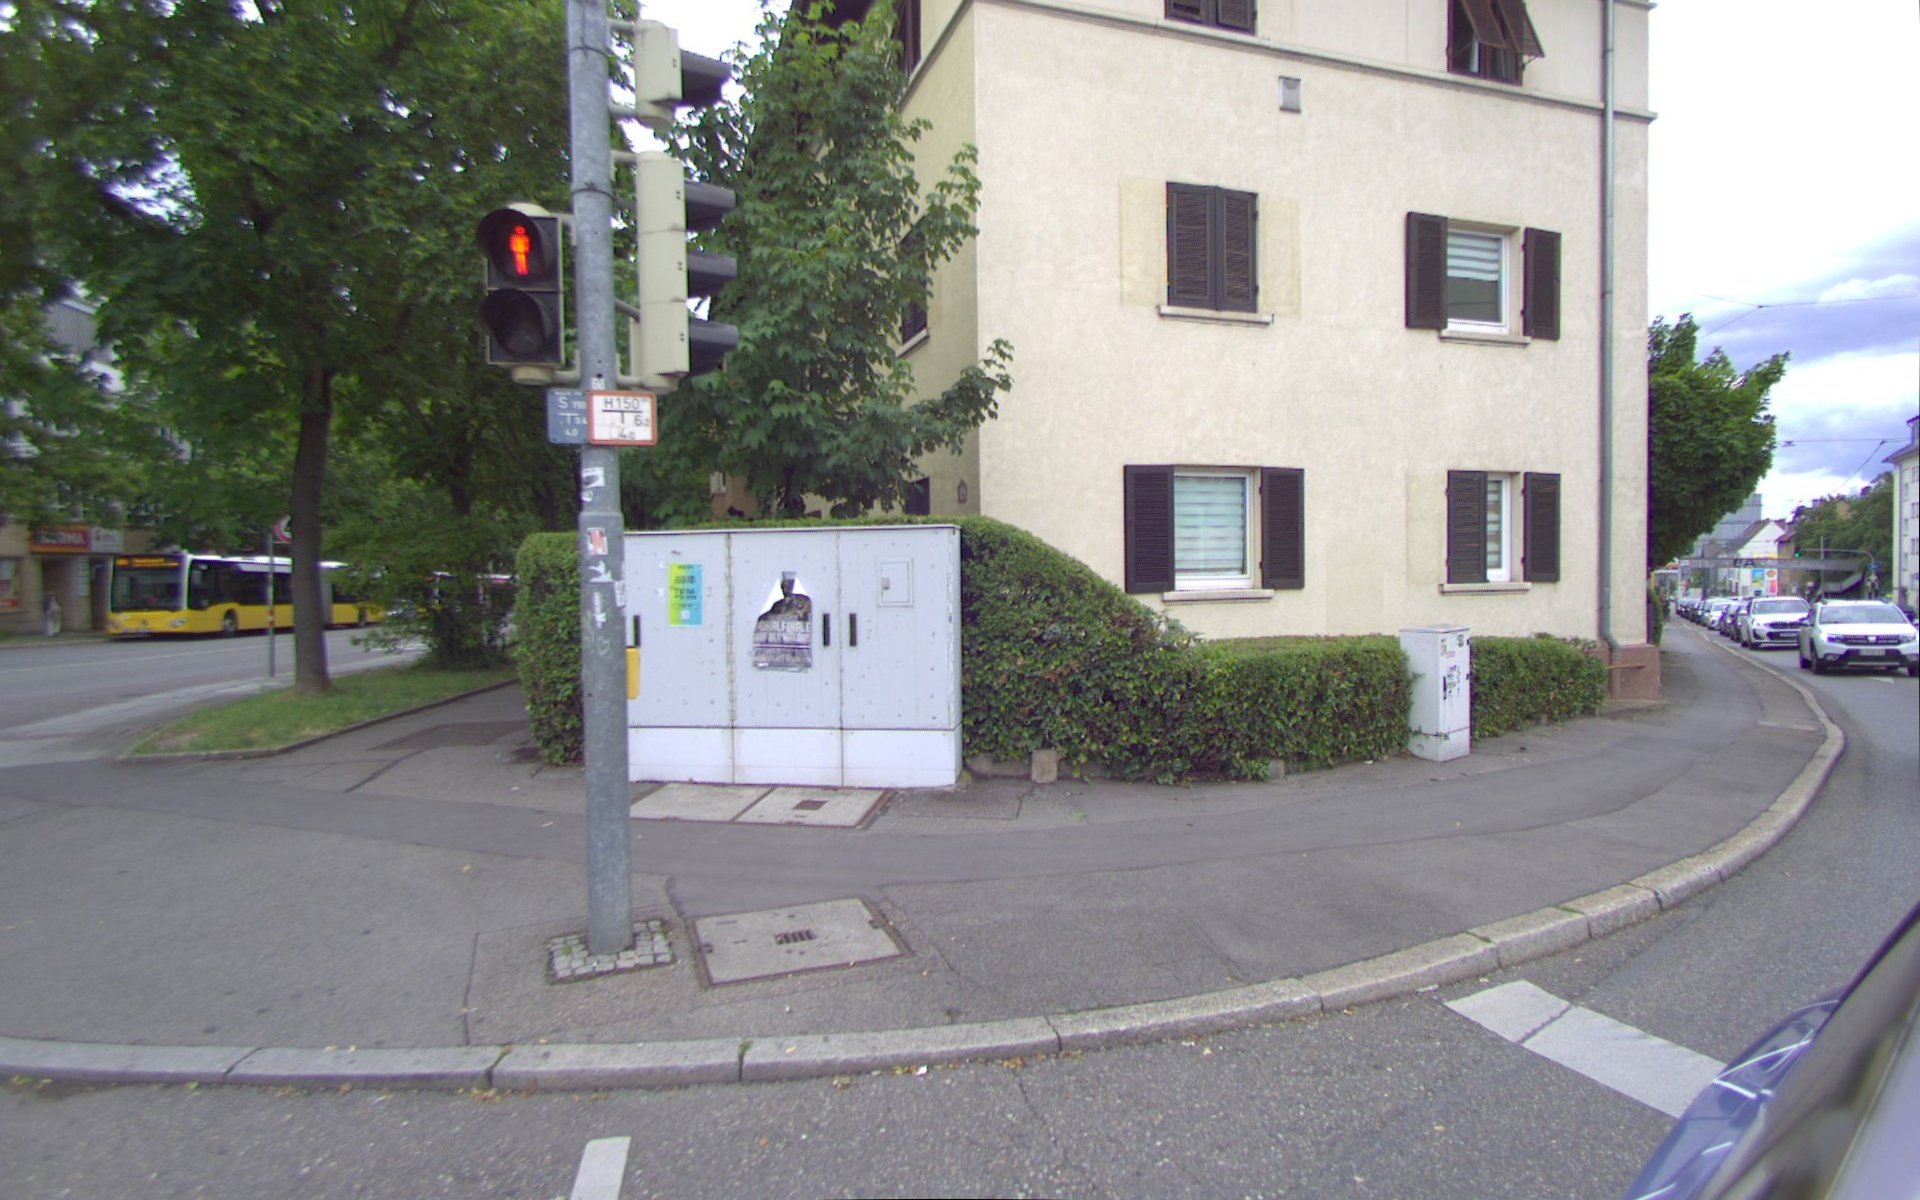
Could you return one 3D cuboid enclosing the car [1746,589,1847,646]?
[{"bbox_3d":[26.176,0.489,31.809,1.886,1.665,3.955,0,0,32],"label":"car"}]

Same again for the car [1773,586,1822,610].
[{"bbox_3d":[52.219,-0.139,63.166,1.869,1.372,4.097,-1,0,33],"label":"car"}]

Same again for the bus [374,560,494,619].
[{"bbox_3d":[-33.320,-0.661,64.844,3.373,3.384,12.860,0,1,-11],"label":"bus"}]

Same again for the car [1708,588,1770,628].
[{"bbox_3d":[34.166,0.298,44.473,1.888,1.601,3.951,2,2,34],"label":"car"}]

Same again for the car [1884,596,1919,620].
[{"bbox_3d":[60.766,0.496,64.703,1.762,1.420,3.717,-1,0,32],"label":"car"}]

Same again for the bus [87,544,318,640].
[{"bbox_3d":[-28.167,-0.323,38.435,2.804,3.148,10.420,0,1,-11],"label":"bus"}]

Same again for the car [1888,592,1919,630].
[{"bbox_3d":[38.448,0.420,40.468,1.594,1.465,3.484,2,2,36],"label":"car"}]

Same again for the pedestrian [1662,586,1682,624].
[{"bbox_3d":[35.141,0.242,49.950,0.638,1.864,0.589,0,0,16],"label":"pedestrian"}]

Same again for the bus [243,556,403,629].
[{"bbox_3d":[-30.161,-0.372,48.626,2.820,3.087,10.950,0,1,-11],"label":"bus"}]

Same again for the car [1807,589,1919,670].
[{"bbox_3d":[19.275,0.565,21.361,1.889,1.529,4.111,-2,-1,37],"label":"car"}]
